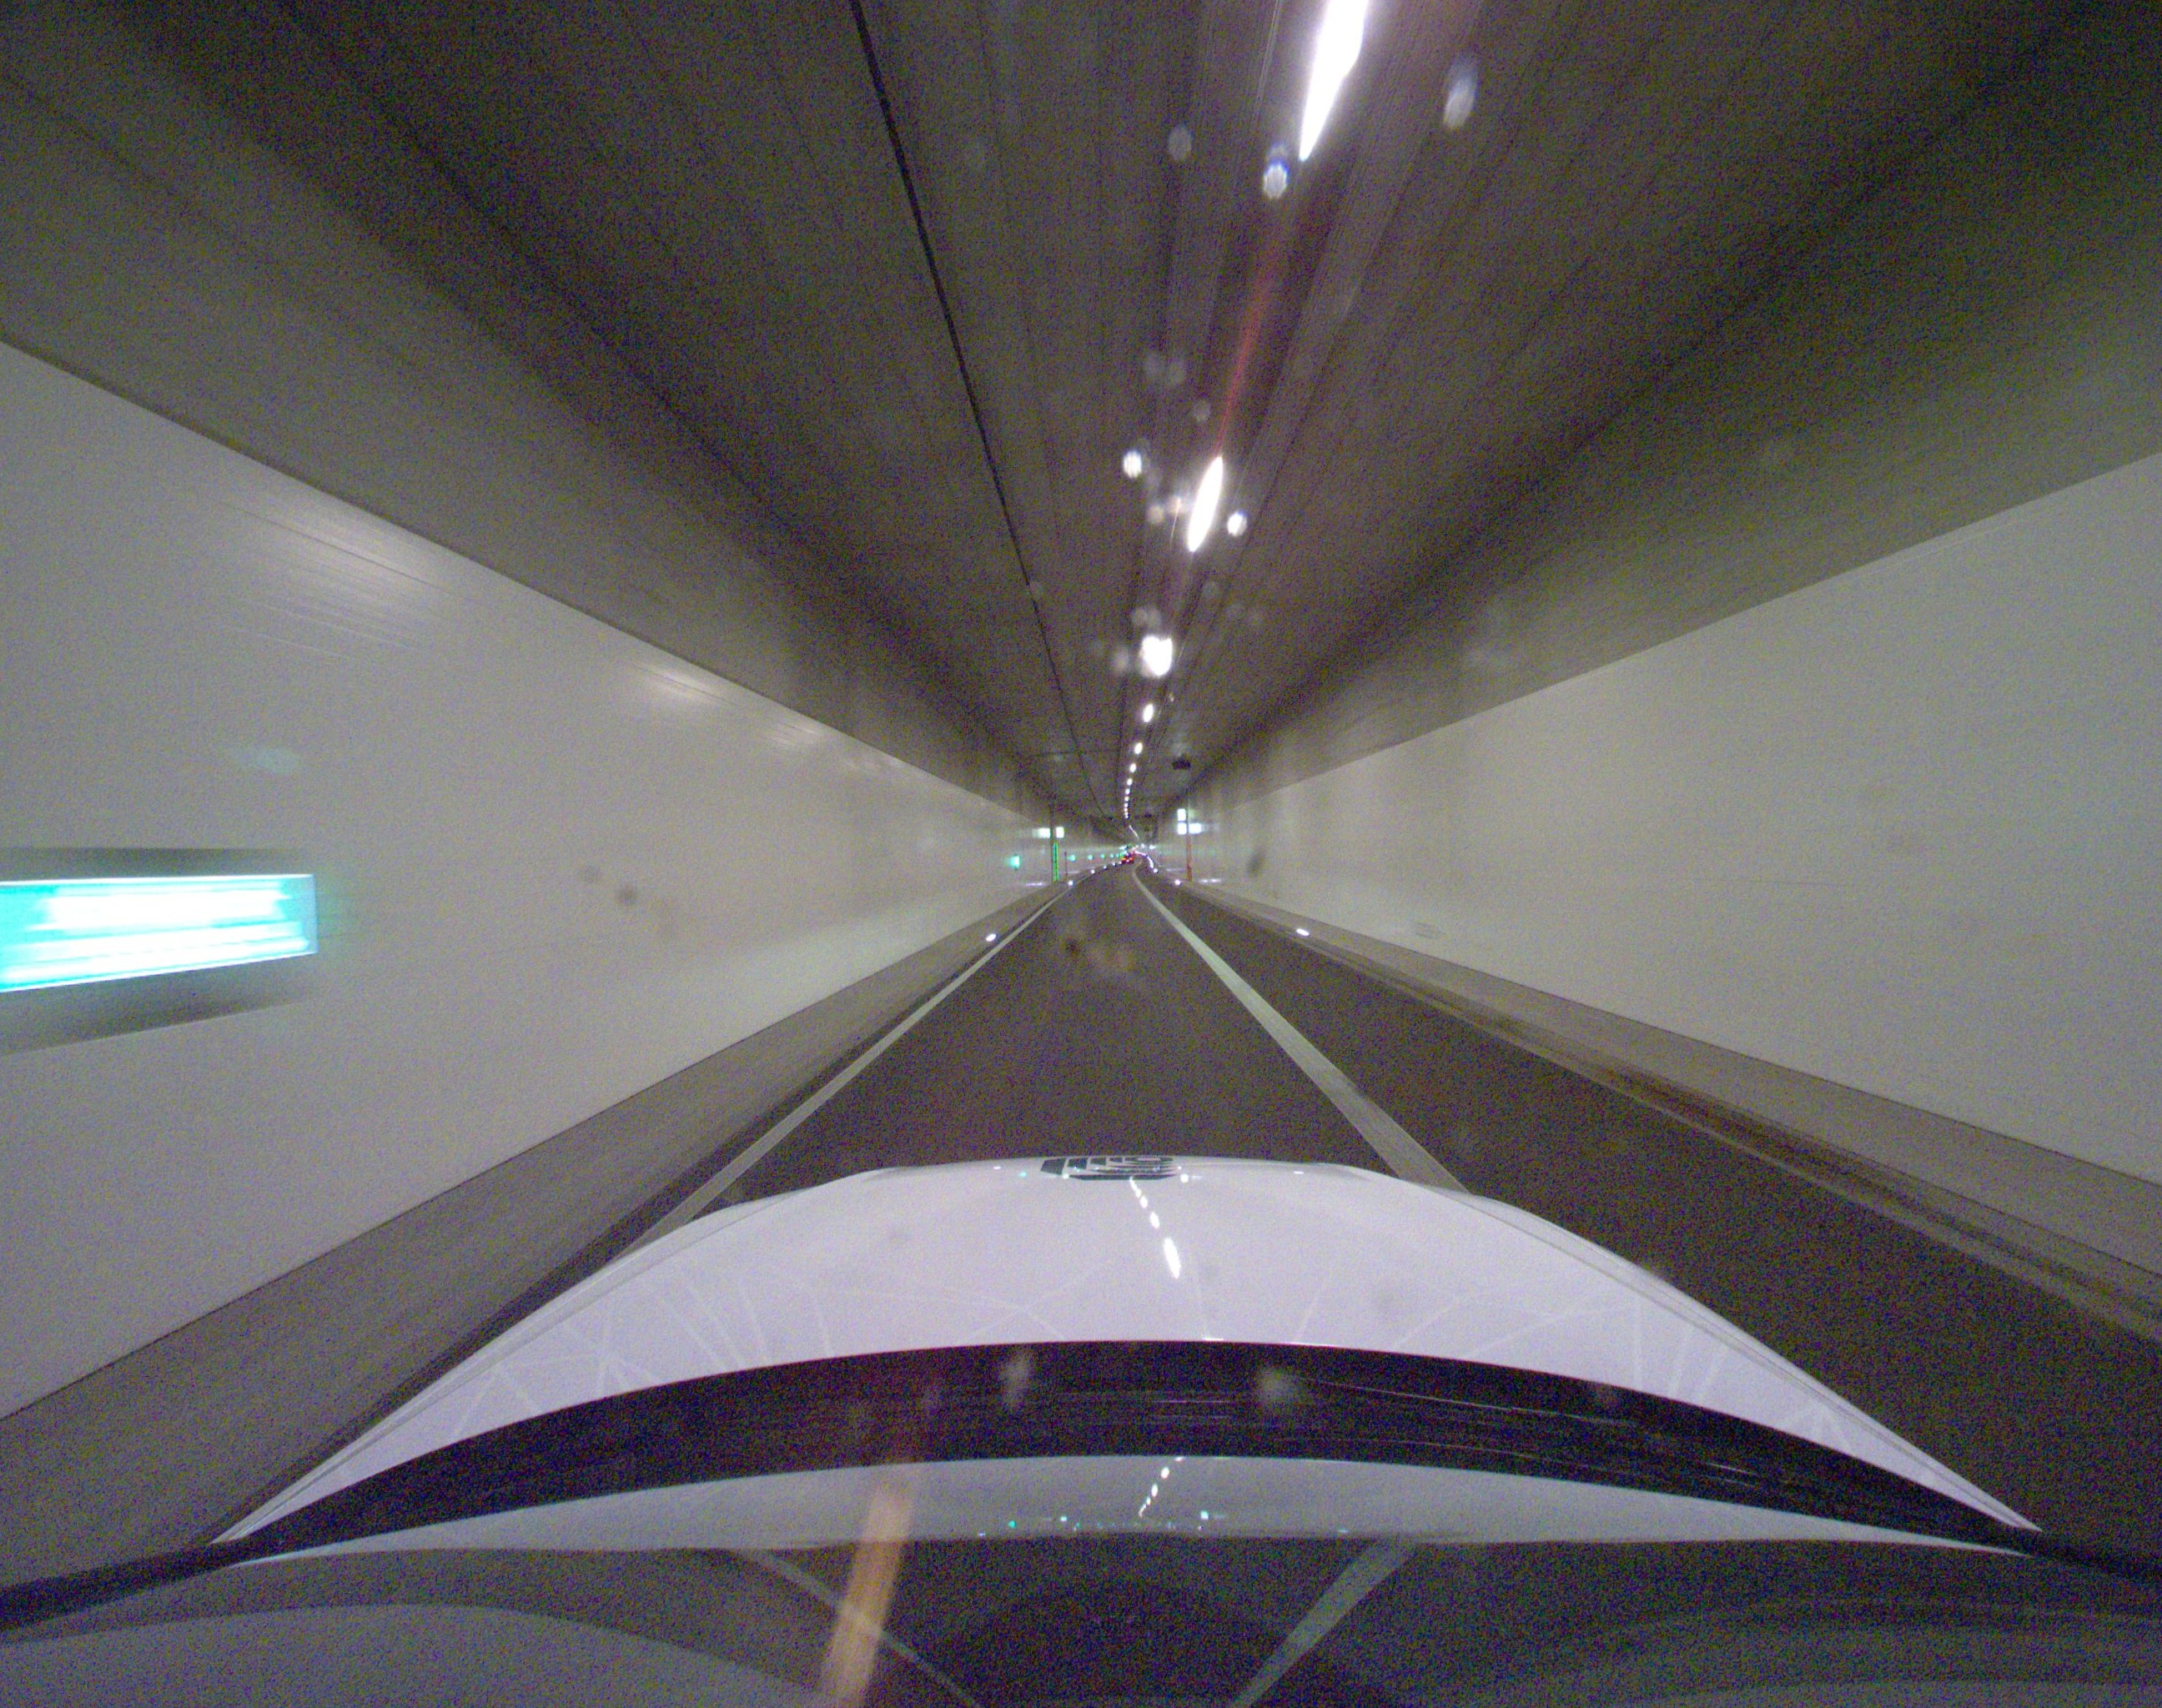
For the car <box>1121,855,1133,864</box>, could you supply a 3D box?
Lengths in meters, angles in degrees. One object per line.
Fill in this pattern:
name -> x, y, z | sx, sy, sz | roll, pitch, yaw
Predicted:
car -> 7.517, 0.911, 133.132 | 1.986, 1.420, 4.002 | -2, 0, 2
